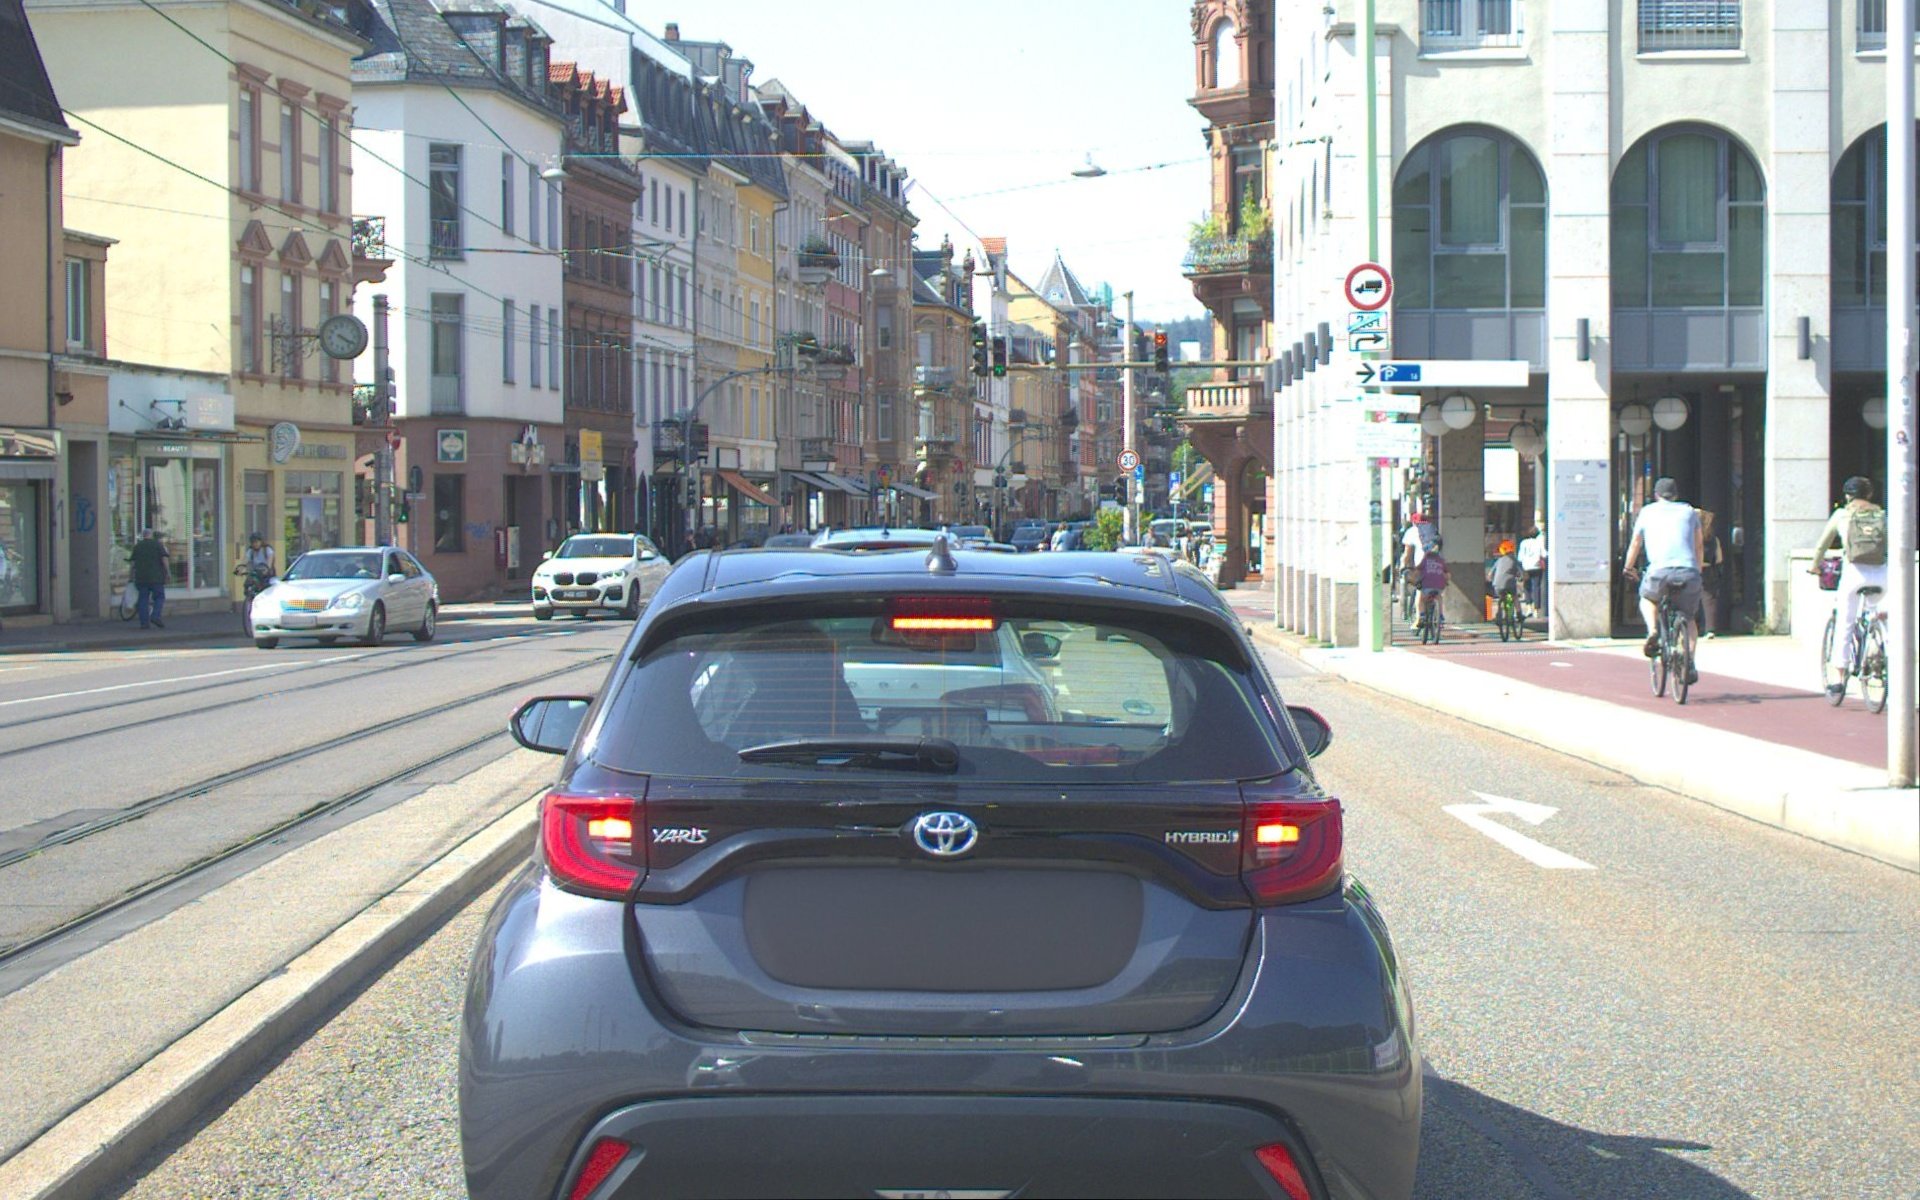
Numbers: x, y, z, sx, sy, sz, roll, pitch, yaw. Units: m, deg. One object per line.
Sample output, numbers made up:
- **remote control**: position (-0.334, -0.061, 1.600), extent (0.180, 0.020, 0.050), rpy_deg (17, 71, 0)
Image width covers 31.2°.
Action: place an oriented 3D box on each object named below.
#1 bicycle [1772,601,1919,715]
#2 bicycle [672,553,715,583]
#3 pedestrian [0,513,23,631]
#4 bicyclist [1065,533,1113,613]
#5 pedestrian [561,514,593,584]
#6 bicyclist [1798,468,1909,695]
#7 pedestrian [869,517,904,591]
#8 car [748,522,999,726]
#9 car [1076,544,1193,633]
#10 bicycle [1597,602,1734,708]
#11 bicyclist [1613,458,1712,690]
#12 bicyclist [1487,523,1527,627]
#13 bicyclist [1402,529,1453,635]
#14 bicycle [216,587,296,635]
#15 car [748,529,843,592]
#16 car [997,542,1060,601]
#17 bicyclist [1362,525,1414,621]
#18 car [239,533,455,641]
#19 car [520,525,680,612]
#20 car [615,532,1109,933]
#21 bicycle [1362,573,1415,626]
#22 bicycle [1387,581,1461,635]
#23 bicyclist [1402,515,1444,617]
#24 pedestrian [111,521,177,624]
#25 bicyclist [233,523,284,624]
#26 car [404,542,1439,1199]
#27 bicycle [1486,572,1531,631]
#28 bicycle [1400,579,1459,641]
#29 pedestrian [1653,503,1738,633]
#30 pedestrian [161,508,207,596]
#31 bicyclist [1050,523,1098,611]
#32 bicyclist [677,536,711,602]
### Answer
- **bicycle**: position (6.613, 0.417, 25.566), extent (0.593, 0.763, 1.867), rpy_deg (-1, 1, -3)
- **bicycle**: position (-6.787, -0.820, 87.654), extent (0.620, 0.713, 2.044), rpy_deg (2, 2, 9)
- **pedestrian**: position (-14.726, -0.451, 52.097), extent (0.736, 1.760, 0.787), rpy_deg (4, 1, 0)
- **bicyclist**: position (4.209, -0.876, 111.884), extent (1.228, 2.520, 1.104), rpy_deg (4, 1, 11)
- **pedestrian**: position (-9.856, -1.318, 88.549), extent (0.736, 1.760, 0.787), rpy_deg (0, 2, 0)
- **bicyclist**: position (6.608, -0.140, 25.460), extent (0.586, 1.645, 0.702), rpy_deg (-1, 1, -3)
- **pedestrian**: position (-2.622, -1.663, 123.278), extent (1.051, 2.579, 1.501), rpy_deg (4, 1, 0)
- **car**: position (-0.704, 0.145, 28.426), extent (1.897, 1.525, 4.000), rpy_deg (1, 1, -1)
- **car**: position (3.009, -0.228, 59.959), extent (1.705, 1.461, 4.326), rpy_deg (1, 1, -1)
- **bicycle**: position (5.600, 0.424, 27.369), extent (0.593, 0.763, 1.867), rpy_deg (-1, 1, -3)
- **bicyclist**: position (5.584, -0.210, 27.341), extent (0.586, 1.814, 0.702), rpy_deg (-1, 1, -3)
- **bicyclist**: position (7.388, -0.338, 46.402), extent (0.422, 1.378, 0.443), rpy_deg (-2, 1, -1)
- **bicyclist**: position (6.192, -0.243, 45.547), extent (0.534, 1.378, 0.669), rpy_deg (-2, 1, -1)
- **bicycle**: position (-11.759, 0.183, 57.466), extent (0.620, 0.713, 2.044), rpy_deg (2, 2, 9)
- **car**: position (-4.062, -0.992, 85.602), extent (1.794, 1.540, 3.920), rpy_deg (0, 1, 6)
- **car**: position (2.533, -1.056, 126.719), extent (1.994, 2.007, 4.000), rpy_deg (4, 1, 4)
- **bicyclist**: position (7.788, -0.500, 62.570), extent (0.701, 1.689, 0.924), rpy_deg (4, 1, 0)
- **car**: position (-8.639, -0.212, 48.813), extent (1.732, 1.455, 4.372), rpy_deg (0, 1, 8)
- **car**: position (-6.778, -0.608, 65.194), extent (1.994, 1.581, 4.651), rpy_deg (0, 1, 7)
- **car**: position (-0.419, 0.478, 15.400), extent (1.897, 1.525, 4.000), rpy_deg (1, 1, -1)
- **bicycle**: position (7.788, -0.012, 62.549), extent (0.704, 0.879, 1.525), rpy_deg (4, 1, 0)
- **bicycle**: position (6.727, 0.116, 49.853), extent (0.959, 0.763, 0.417), rpy_deg (-1, 1, 22)
- **bicyclist**: position (6.713, -0.492, 49.844), extent (0.442, 1.461, 0.484), rpy_deg (-2, 1, 22)
- **pedestrian**: position (-13.614, -0.460, 57.378), extent (0.762, 1.648, 0.711), rpy_deg (4, 1, 6)
- **bicyclist**: position (-11.732, -0.450, 57.497), extent (0.627, 1.644, 0.621), rpy_deg (2, 2, 8)
- **car**: position (-0.102, 0.629, 7.614), extent (1.720, 1.468, 3.658), rpy_deg (1, 1, -1)
- **bicycle**: position (7.397, 0.012, 46.376), extent (0.416, 0.763, 0.962), rpy_deg (-2, 1, 0)
- **bicycle**: position (6.207, 0.127, 45.509), extent (0.514, 0.763, 1.661), rpy_deg (-2, 1, 0)
- **pedestrian**: position (9.449, -0.413, 44.197), extent (0.739, 1.609, 1.016), rpy_deg (4, 1, -1)
- **pedestrian**: position (-14.605, -0.907, 64.707), extent (0.649, 1.596, 0.566), rpy_deg (4, 3, 0)
- **bicyclist**: position (3.362, -0.976, 101.427), extent (1.228, 2.520, 1.105), rpy_deg (4, 1, 1)
- **bicyclist**: position (-6.785, -0.790, 87.723), extent (0.705, 1.644, 0.621), rpy_deg (2, 2, 8)
